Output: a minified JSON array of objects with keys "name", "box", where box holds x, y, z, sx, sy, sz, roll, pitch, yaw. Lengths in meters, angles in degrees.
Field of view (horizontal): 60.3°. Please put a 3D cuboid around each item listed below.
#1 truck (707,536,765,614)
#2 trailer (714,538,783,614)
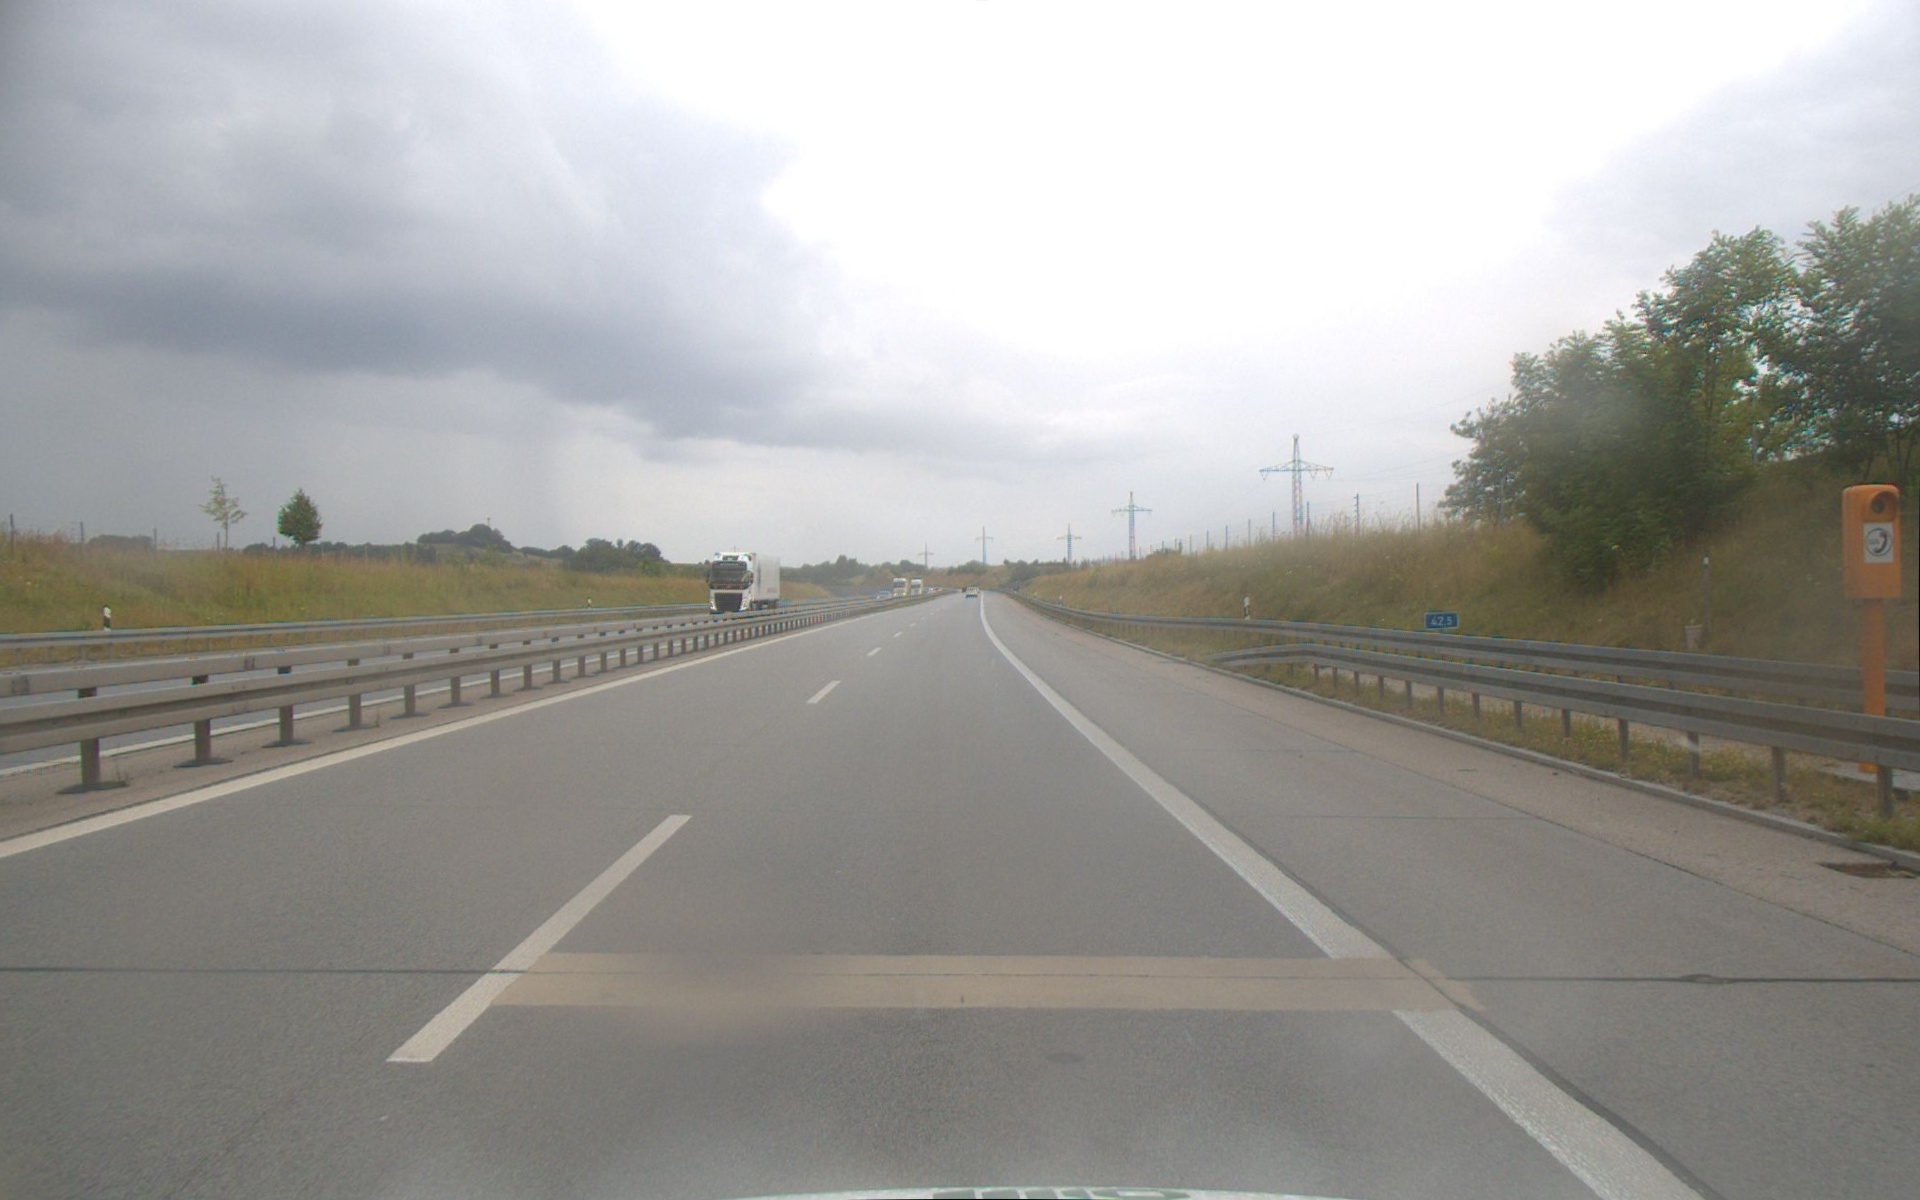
[{"name":"truck","box":[-14.041,-1.518,104.149,2.738,4.728,6.920,0,0,0]},{"name":"trailer","box":[-14.060,-1.559,110.981,2.738,4.731,14.846,0,0,0]}]
